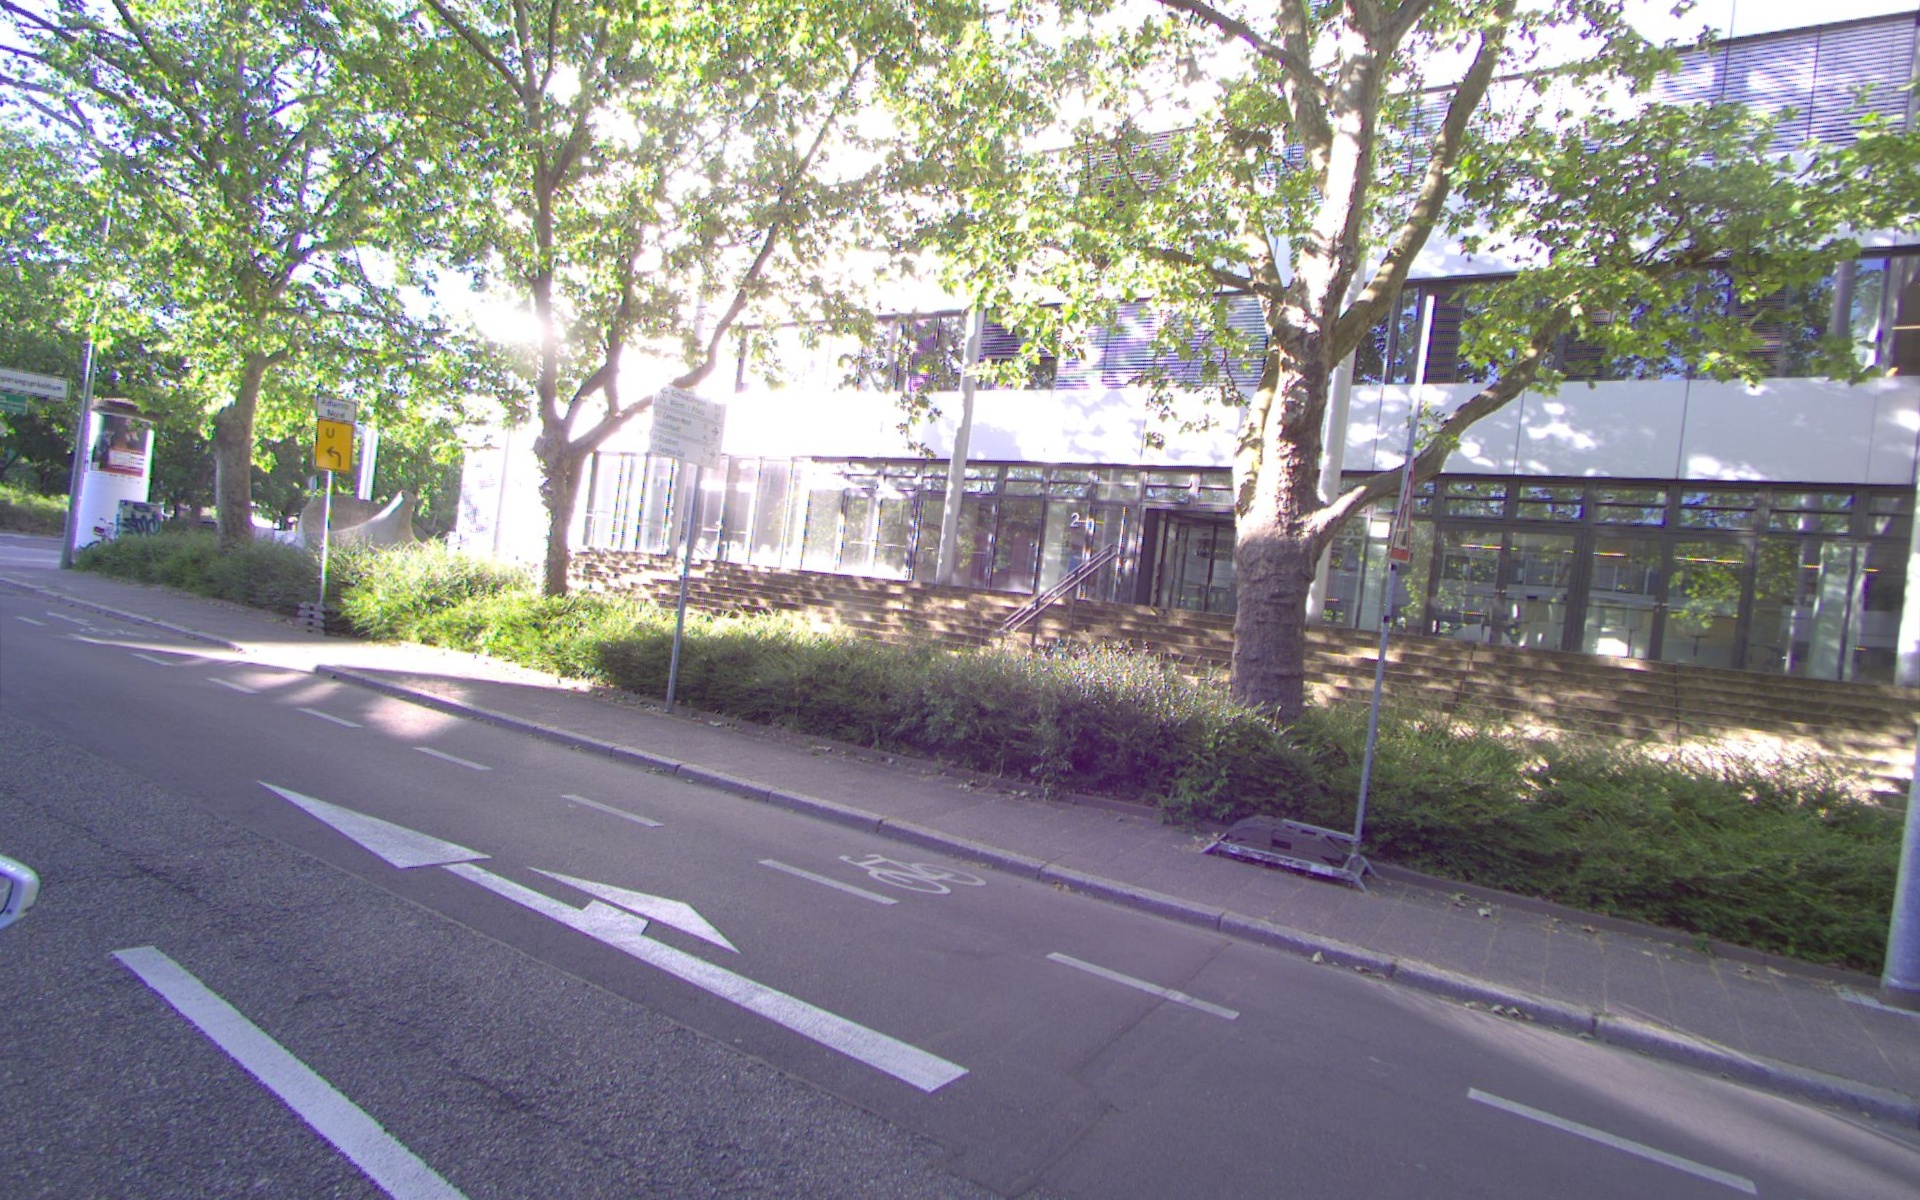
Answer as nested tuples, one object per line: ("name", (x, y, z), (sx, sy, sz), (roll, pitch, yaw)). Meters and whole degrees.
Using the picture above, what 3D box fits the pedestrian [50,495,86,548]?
("pedestrian", (-32.074, -2.814, 36.182), (0.672, 1.793, 0.613), (8, -1, -29))

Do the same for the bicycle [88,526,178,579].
("bicycle", (-19.031, -1.075, 23.176), (0.295, 0.991, 1.484), (6, -2, 37))
